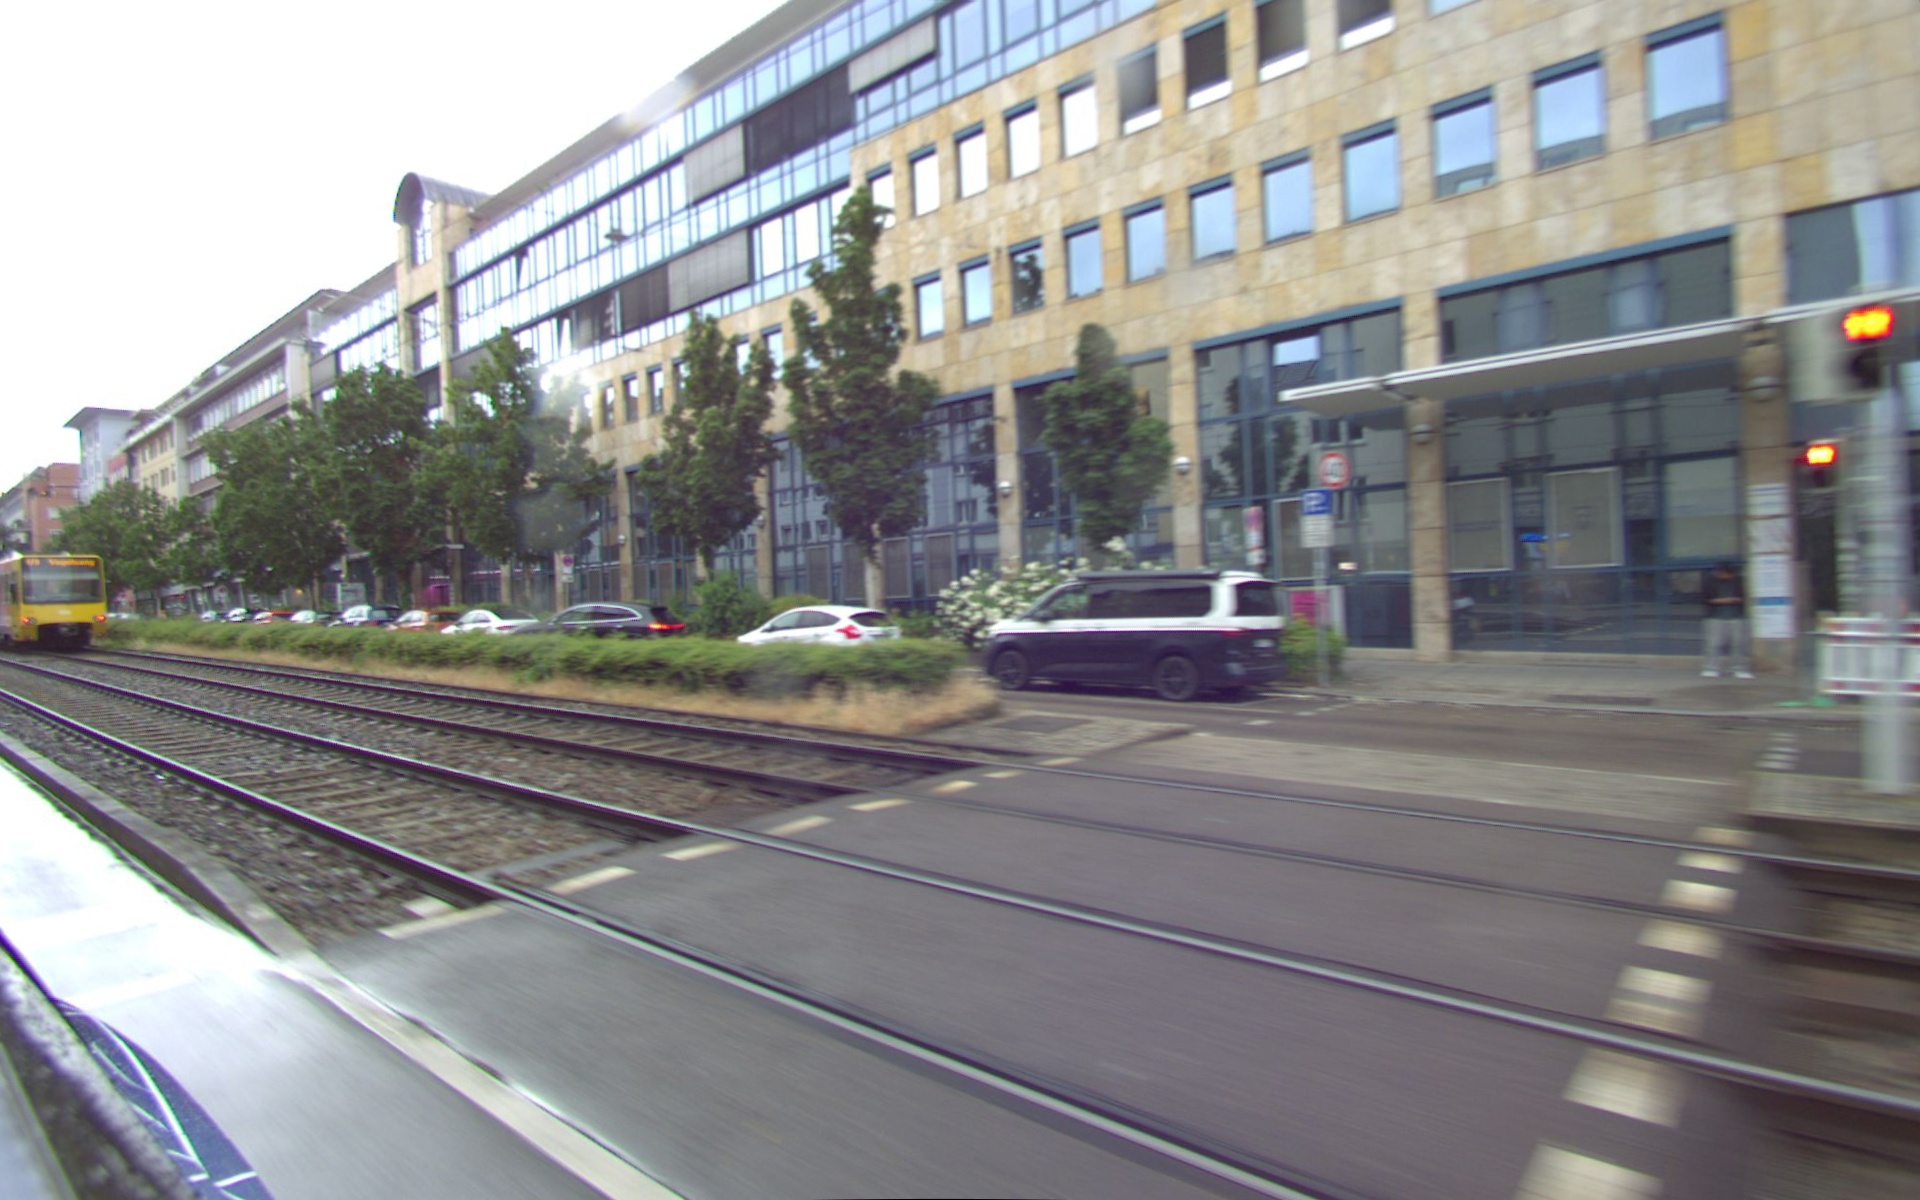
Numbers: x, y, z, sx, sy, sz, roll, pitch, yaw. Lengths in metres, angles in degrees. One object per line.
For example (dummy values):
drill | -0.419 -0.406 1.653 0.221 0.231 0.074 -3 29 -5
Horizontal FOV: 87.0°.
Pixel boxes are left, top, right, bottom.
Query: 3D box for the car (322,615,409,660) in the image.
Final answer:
car | -22.887 1.418 38.904 4.291 1.613 1.632 -1 0 42

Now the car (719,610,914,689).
car | -3.132 1.036 21.626 4.252 1.497 1.672 -2 0 40

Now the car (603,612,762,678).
car | -7.063 1.124 25.557 4.291 1.497 1.672 -2 0 39

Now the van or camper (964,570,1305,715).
van or camper | 2.687 0.583 16.506 5.195 2.012 1.996 0 1 41

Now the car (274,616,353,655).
car | -27.607 1.476 43.152 4.620 1.552 1.632 -1 0 42

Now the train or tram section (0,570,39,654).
train or tram section | -53.348 0.660 54.920 18.402 4.081 2.872 -1 0 41

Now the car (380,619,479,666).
car | -18.471 1.446 35.187 4.291 1.509 1.632 -1 0 42

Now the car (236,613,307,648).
car | -32.019 1.398 47.016 4.620 1.552 1.632 -1 0 42

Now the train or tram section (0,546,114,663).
train or tram section | -39.336 0.219 42.563 18.758 4.081 2.872 -1 0 41

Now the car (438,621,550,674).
car | -14.569 1.423 31.541 4.191 1.509 1.632 -1 0 42

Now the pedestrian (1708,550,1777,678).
pedestrian | 11.528 0.202 14.910 0.679 1.828 0.693 -3 -1 43

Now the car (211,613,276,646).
car | -35.562 1.443 50.192 4.620 1.552 1.632 -1 0 42
